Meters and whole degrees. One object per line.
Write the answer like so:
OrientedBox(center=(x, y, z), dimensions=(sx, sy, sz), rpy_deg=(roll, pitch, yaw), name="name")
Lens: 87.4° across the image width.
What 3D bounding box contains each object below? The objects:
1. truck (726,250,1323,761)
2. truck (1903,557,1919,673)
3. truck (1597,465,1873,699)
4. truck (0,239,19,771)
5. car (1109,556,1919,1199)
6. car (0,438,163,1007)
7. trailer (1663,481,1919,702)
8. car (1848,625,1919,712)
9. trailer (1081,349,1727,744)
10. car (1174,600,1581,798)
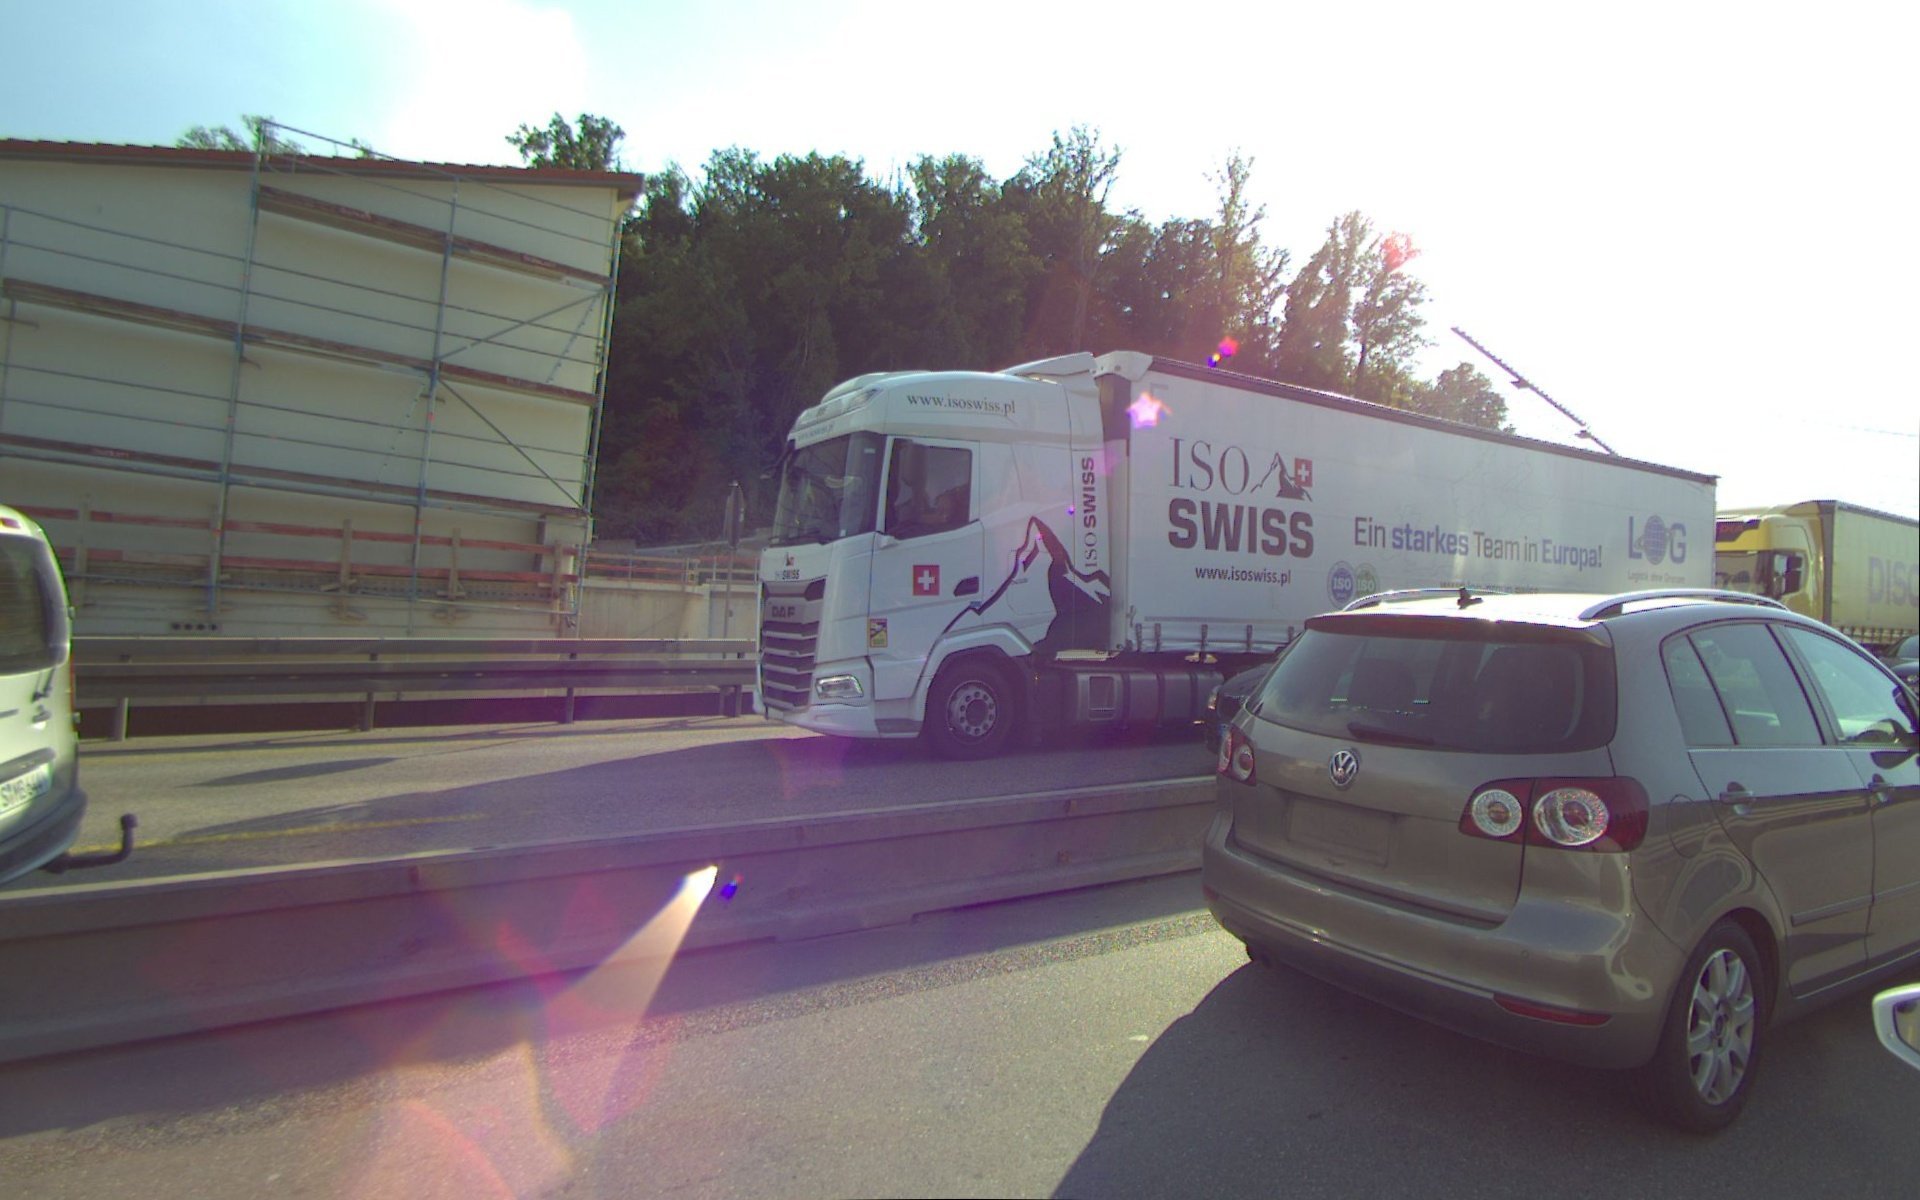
OrientedBox(center=(0.898, -0.652, 11.157), dimensions=(6.250, 4.327, 2.431), rpy_deg=(3, -2, -31), name="truck")
OrientedBox(center=(33.237, 0.644, 32.337), dimensions=(7.614, 3.577, 2.345), rpy_deg=(3, -2, -32), name="truck")
OrientedBox(center=(16.472, -0.198, 21.290), dimensions=(5.710, 4.327, 2.877), rpy_deg=(3, -2, -33), name="truck")
OrientedBox(center=(-12.639, -0.896, 3.136), dimensions=(13.732, 4.022, 2.795), rpy_deg=(2, 0, -31), name="truck")
OrientedBox(center=(2.757, 0.802, 4.146), dimensions=(4.101, 1.608, 1.692), rpy_deg=(3, -2, -32), name="car")
OrientedBox(center=(-5.619, 0.371, 3.027), dimensions=(4.811, 1.942, 1.823), rpy_deg=(1, 0, -32), name="car")
OrientedBox(center=(22.614, 0.177, 25.348), dimensions=(14.228, 4.451, 2.877), rpy_deg=(3, -2, -33), name="trailer")
OrientedBox(center=(18.381, 1.294, 18.576), dimensions=(4.484, 1.468, 1.745), rpy_deg=(3, -2, -32), name="car")
OrientedBox(center=(7.371, -0.297, 15.135), dimensions=(12.009, 4.321, 2.440), rpy_deg=(3, -2, -31), name="trailer")
OrientedBox(center=(4.011, 0.805, 9.500), dimensions=(3.804, 1.526, 1.661), rpy_deg=(1, 0, -32), name="car")
